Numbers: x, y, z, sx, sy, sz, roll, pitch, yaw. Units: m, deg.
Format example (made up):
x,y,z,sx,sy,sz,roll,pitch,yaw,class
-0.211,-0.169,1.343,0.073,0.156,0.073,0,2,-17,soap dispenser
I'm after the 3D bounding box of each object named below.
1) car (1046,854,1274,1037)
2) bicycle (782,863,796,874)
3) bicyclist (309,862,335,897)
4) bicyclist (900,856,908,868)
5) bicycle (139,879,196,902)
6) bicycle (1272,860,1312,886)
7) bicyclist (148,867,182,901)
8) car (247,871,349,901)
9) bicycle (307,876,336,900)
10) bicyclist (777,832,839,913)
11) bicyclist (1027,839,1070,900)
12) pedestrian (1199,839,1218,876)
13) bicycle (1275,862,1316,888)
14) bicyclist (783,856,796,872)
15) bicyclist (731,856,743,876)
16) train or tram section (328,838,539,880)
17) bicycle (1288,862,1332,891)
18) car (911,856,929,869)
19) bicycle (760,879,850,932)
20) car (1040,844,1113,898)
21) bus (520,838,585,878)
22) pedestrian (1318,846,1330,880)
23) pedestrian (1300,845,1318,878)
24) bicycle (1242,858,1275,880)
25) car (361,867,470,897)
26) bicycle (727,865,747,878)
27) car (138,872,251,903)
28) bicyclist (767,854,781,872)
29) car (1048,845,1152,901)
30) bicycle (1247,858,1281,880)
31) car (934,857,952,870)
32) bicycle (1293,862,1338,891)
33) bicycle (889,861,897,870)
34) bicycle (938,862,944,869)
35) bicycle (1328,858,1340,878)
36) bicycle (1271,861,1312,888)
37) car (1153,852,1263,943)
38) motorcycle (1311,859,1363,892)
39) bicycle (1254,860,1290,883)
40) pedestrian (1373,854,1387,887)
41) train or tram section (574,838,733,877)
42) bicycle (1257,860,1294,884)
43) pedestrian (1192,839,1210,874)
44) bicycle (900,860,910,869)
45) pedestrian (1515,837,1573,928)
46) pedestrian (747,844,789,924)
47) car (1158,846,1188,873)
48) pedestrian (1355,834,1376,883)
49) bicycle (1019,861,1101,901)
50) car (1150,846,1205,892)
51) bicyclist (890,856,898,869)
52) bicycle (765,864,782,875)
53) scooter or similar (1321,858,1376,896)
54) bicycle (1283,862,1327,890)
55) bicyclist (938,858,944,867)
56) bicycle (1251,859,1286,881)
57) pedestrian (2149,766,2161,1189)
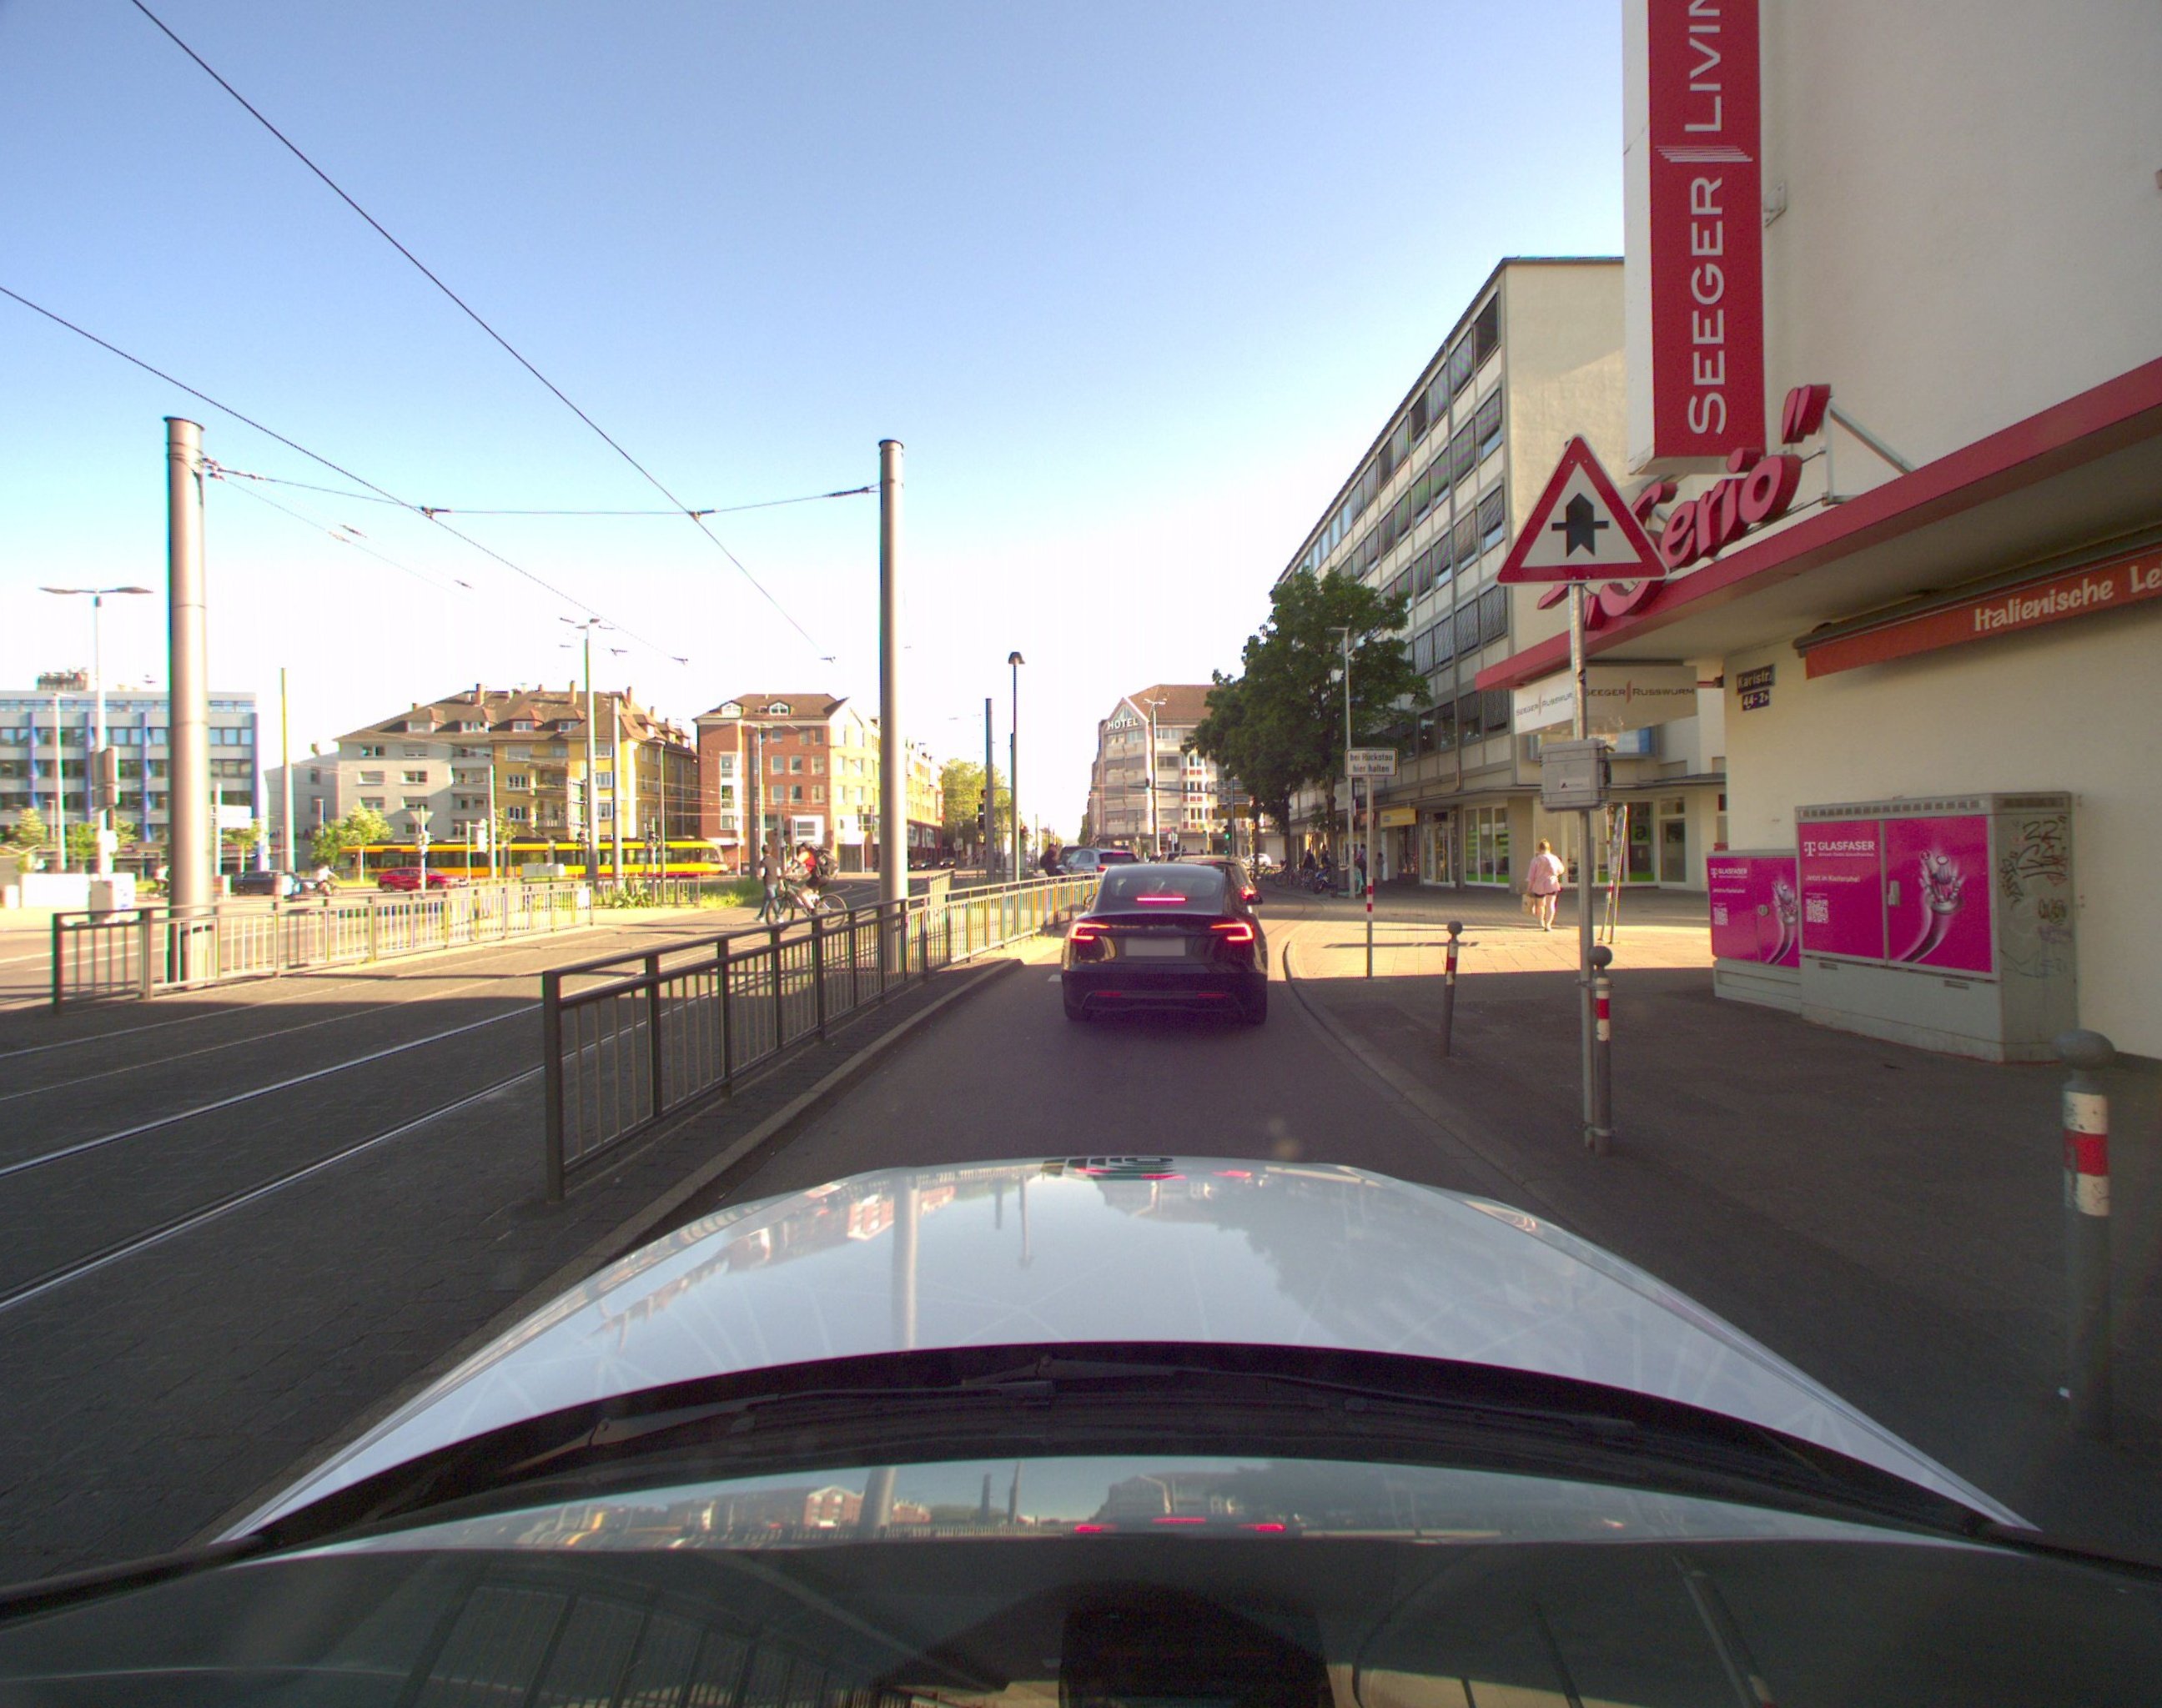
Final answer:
x,y,z,sx,sy,sz,roll,pitch,yaw,class
0.864,0.747,8.562,1.820,1.455,4.007,0,-1,7,car
-26.849,1.356,74.952,0.402,0.981,1.699,-1,-1,10,bicycle
-39.071,1.308,41.936,0.743,1.759,0.763,-1,-1,28,bicyclist
-22.488,1.026,103.424,0.780,1.563,0.747,-1,0,3,bicyclist
-50.043,1.983,44.626,2.188,1.214,0.544,0,-1,-11,bicycle
9.122,0.826,35.278,1.643,1.099,0.350,0,-1,3,bicycle
-50.181,1.642,44.619,0.901,1.808,0.788,0,-1,-11,bicyclist
-45.490,1.840,47.396,3.984,1.672,1.772,0,-1,-8,car
-39.082,1.741,41.896,1.831,1.222,0.488,-1,-1,28,bicycle
-5.203,0.350,15.527,1.035,1.521,0.392,0,-1,5,bicyclist
-0.901,0.426,22.313,0.763,1.628,0.967,0,-1,-37,bicyclist
6.970,0.181,44.663,0.917,2.014,0.973,0,-1,1,pedestrian
8.955,0.870,34.026,1.649,1.099,0.349,0,-1,-9,bicycle
-26.832,0.944,74.947,0.699,1.471,0.975,-1,0,9,bicyclist
-26.041,0.916,61.651,0.631,1.503,0.696,0,-1,1,bicyclist
-50.940,0.355,64.451,13.655,3.131,2.728,0,-1,-6,train or tram section
8.821,0.864,31.382,1.649,1.061,0.349,0,-1,-9,bicycle
-20.374,1.061,103.291,1.706,1.527,4.032,0,-1,-3,car
-5.264,0.981,15.536,1.589,0.994,0.404,0,-1,6,bicycle
-0.269,0.664,32.768,1.997,2.014,3.980,-1,0,-15,car
-42.402,0.298,65.494,3.514,3.131,2.763,0,-1,-9,bus
12.324,0.466,41.333,0.523,1.710,0.404,0,-1,6,pedestrian
11.536,0.378,41.198,0.697,1.662,0.777,0,-1,1,pedestrian
9.248,0.787,42.413,1.643,1.099,0.350,0,-1,3,bicycle
-39.453,1.655,48.391,4.585,1.700,1.993,0,-1,-10,car
-26.023,1.327,61.642,0.445,0.972,2.247,0,-1,2,bicycle
-50.620,1.880,46.578,3.952,1.685,1.903,0,-1,-11,car
-25.833,0.762,68.507,0.895,1.503,0.696,0,-1,1,bicyclist
0.524,0.586,26.620,1.891,1.662,4.126,0,-1,-23,car
9.266,0.757,41.318,1.643,1.099,0.350,-1,0,3,bicycle
-18.071,1.236,106.588,1.692,1.731,3.706,0,-1,0,car
8.899,0.857,30.958,1.649,1.099,0.349,0,-1,-9,bicycle
-22.648,1.412,98.093,0.536,1.088,2.223,0,-1,-2,bicycle
-23.175,1.956,135.069,0.527,1.088,2.227,0,-1,4,bicycle
12.718,0.698,40.954,0.330,1.034,1.258,0,-1,6,bicycle
8.620,0.844,33.340,1.649,1.099,0.349,0,-1,-9,bicycle
2.339,0.705,15.122,1.741,1.454,4.009,-1,0,8,car
9.148,0.765,29.145,1.701,1.173,0.541,0,-1,0,motorcycle
9.208,0.838,39.258,1.643,1.099,0.350,0,-1,3,bicycle
12.335,0.675,33.606,0.388,1.343,0.513,0,-1,4,pedestrian
-35.055,0.256,67.257,11.252,3.131,2.790,0,-1,-16,train or tram section
9.144,0.833,38.232,1.643,1.099,0.350,0,-1,3,bicycle
6.984,0.170,47.316,0.917,2.014,0.973,0,-1,1,pedestrian
-22.470,1.297,103.979,0.527,1.088,2.286,-1,0,4,bicycle
8.755,0.520,15.431,0.881,1.667,0.813,-1,-1,25,pedestrian
-6.701,0.627,17.463,0.589,1.681,0.774,0,-1,-1,pedestrian
6.117,0.378,54.547,1.713,1.751,3.755,0,-1,2,car
11.802,0.174,33.814,0.659,2.014,0.580,0,-1,4,pedestrian
-0.566,0.729,22.566,2.346,1.053,0.624,0,-1,-36,bicycle
3.962,0.603,34.142,1.595,1.778,3.975,0,-1,-4,car
-22.643,0.989,98.630,0.782,1.563,0.746,0,-1,-3,bicyclist
-25.835,1.293,68.520,0.522,0.972,2.247,0,-1,2,bicycle
8.902,0.761,27.119,1.625,1.215,0.649,-1,-1,32,scooter or similar
8.734,0.856,31.808,1.649,1.099,0.349,0,-1,-9,bicycle
-23.194,1.374,134.998,0.780,1.563,0.747,0,-1,3,bicyclist
9.284,0.794,40.271,1.643,1.099,0.350,0,-1,3,bicycle
4.958,0.504,2.909,0.912,1.752,1.037,-1,0,-4,pedestrian
